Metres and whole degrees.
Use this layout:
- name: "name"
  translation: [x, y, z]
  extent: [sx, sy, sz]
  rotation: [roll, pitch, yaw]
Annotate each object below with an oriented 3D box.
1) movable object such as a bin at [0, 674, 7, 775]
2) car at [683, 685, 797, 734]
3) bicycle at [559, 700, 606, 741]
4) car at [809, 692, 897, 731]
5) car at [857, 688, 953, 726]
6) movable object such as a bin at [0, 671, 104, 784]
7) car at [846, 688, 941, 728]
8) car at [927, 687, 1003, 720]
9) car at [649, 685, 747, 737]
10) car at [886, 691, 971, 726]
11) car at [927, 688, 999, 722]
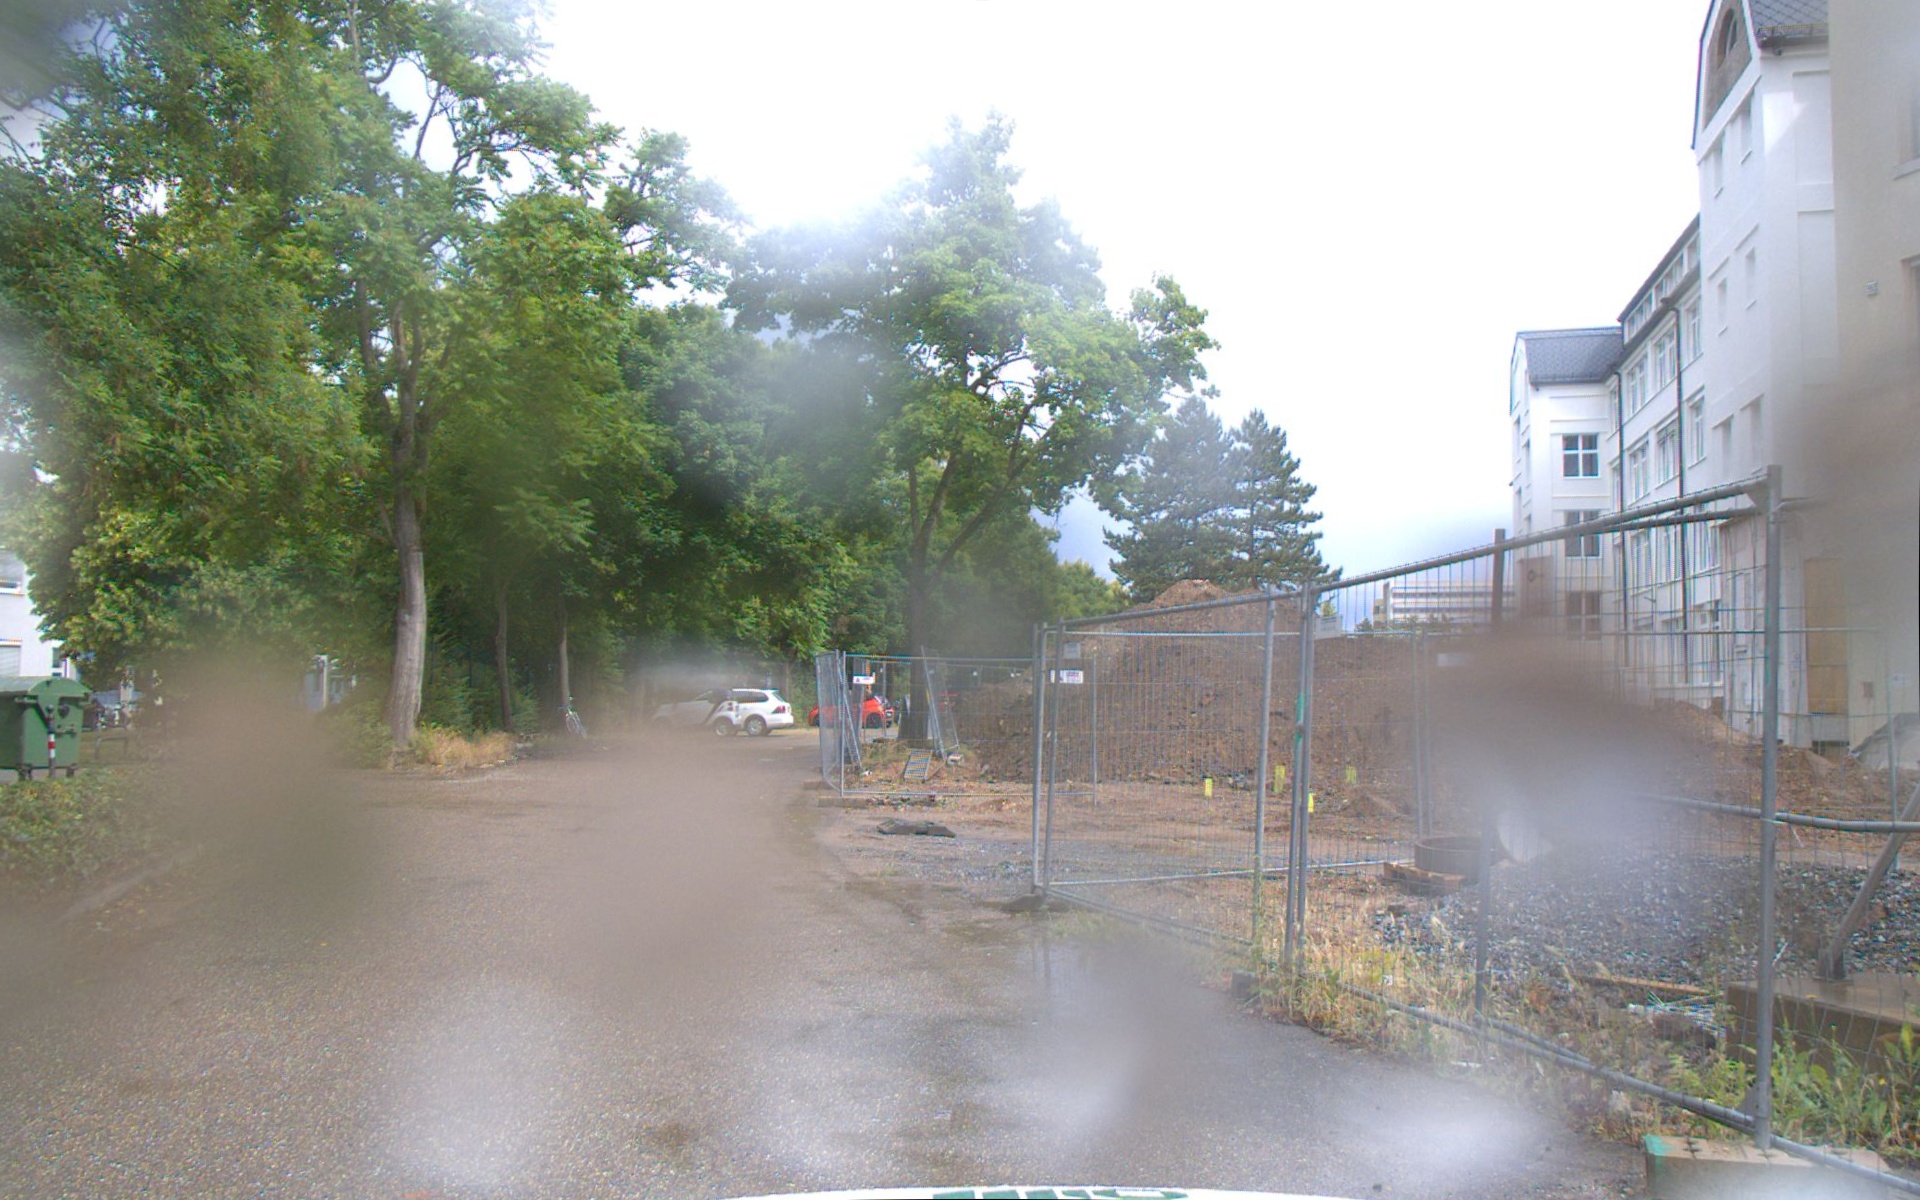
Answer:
- name: "movable object such as a bin"
  translation: [-14.313, 1.751, 22.950]
  extent: [1.368, 1.509, 1.168]
  rotation: [1, -4, 5]
- name: "car"
  translation: [-6.936, 3.447, 52.387]
  extent: [3.362, 1.494, 1.740]
  rotation: [0, -2, -1]
- name: "bicycle"
  translation: [-8.702, 2.765, 38.146]
  extent: [0.465, 0.876, 1.457]
  rotation: [1, -2, 12]
- name: "car"
  translation: [-4.341, 4.540, 67.279]
  extent: [3.214, 1.450, 1.593]
  rotation: [1, -2, 15]
- name: "car"
  translation: [-2.432, 4.777, 73.950]
  extent: [3.902, 1.522, 1.995]
  rotation: [1, -2, 11]
- name: "movable object such as a bin"
  translation: [-12.826, 1.758, 22.791]
  extent: [1.450, 1.499, 1.104]
  rotation: [-2, -5, 22]
- name: "car"
  translation: [-2.866, 4.658, 71.711]
  extent: [3.712, 1.556, 1.910]
  rotation: [1, -2, 12]
- name: "car"
  translation: [0.270, 5.487, 87.714]
  extent: [3.774, 1.601, 1.959]
  rotation: [1, -2, 8]
- name: "car"
  translation: [-7.905, 3.349, 50.100]
  extent: [2.697, 1.510, 1.592]
  rotation: [0, -2, -1]
- name: "car"
  translation: [-1.491, 5.202, 79.664]
  extent: [3.858, 1.543, 1.807]
  rotation: [1, -2, 7]
- name: "car"
  translation: [0.182, 5.419, 85.394]
  extent: [3.511, 1.649, 1.870]
  rotation: [1, -2, 5]
